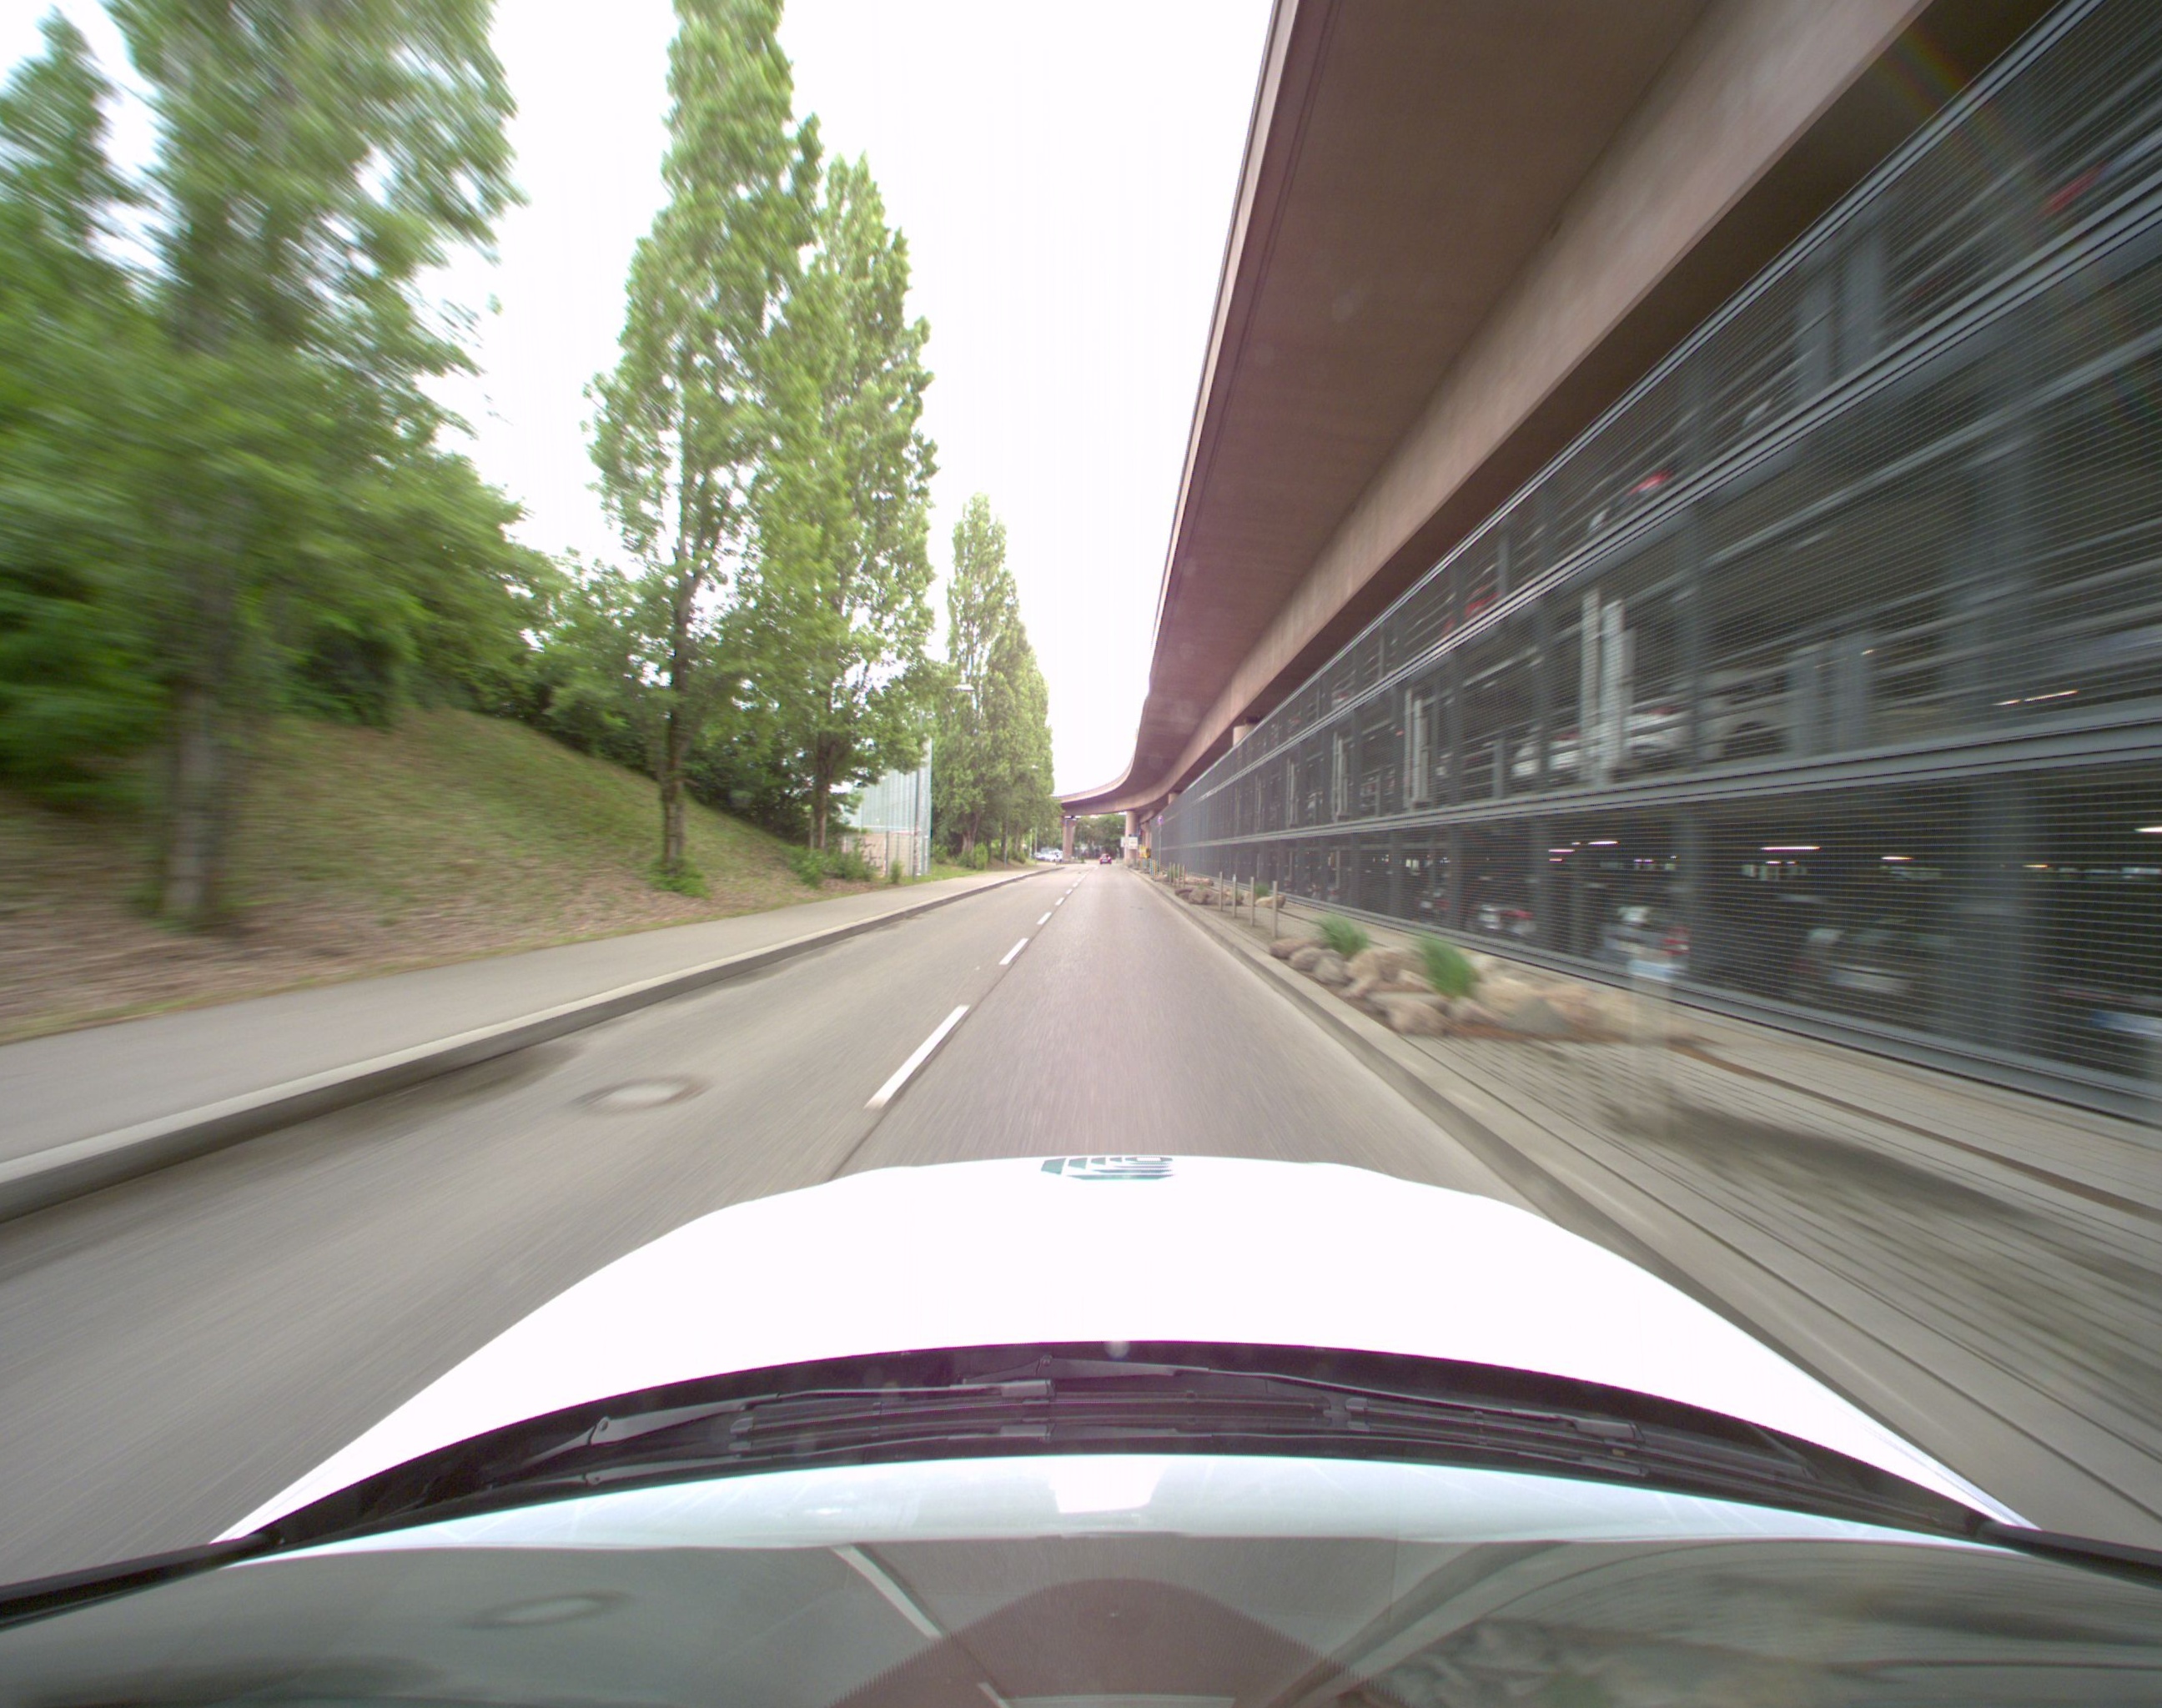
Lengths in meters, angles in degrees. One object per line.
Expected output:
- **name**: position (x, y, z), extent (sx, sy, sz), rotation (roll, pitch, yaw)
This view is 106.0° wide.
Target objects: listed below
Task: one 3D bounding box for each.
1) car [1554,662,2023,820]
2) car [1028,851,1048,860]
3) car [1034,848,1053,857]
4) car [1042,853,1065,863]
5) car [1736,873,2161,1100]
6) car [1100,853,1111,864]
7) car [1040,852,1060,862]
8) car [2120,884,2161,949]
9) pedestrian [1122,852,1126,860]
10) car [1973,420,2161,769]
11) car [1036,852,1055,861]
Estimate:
- **car**: position (8.231, -1.281, 9.821), extent (3.969, 1.657, 1.834), rotation (1, 1, 3)
- **car**: position (-8.707, 0.259, 164.524), extent (1.785, 1.716, 3.695), rotation (2, 2, 43)
- **car**: position (-8.507, -0.408, 185.944), extent (4.200, 2.013, 2.000), rotation (1, 0, 0)
- **car**: position (-5.190, 0.734, 153.467), extent (1.862, 1.716, 4.178), rotation (2, 2, 43)
- **car**: position (8.240, 1.064, 7.097), extent (3.629, 1.619, 1.726), rotation (2, 1, 1)
- **car**: position (4.138, 0.801, 138.681), extent (1.832, 1.711, 3.708), rotation (1, 2, 2)
- **car**: position (-6.006, 0.594, 157.416), extent (1.704, 1.716, 3.695), rotation (2, 2, 43)
- **car**: position (24.322, 1.374, 16.921), extent (3.454, 1.315, 1.511), rotation (2, 1, 1)
- **pedestrian**: position (10.680, 0.569, 202.882), extent (0.774, 1.876, 0.817), rotation (0, 1, -29)
- **car**: position (8.034, -1.469, 4.600), extent (3.971, 1.867, 1.732), rotation (1, 1, 2)
- **car**: position (-7.066, 0.424, 161.372), extent (1.704, 1.716, 3.695), rotation (2, 2, 43)
